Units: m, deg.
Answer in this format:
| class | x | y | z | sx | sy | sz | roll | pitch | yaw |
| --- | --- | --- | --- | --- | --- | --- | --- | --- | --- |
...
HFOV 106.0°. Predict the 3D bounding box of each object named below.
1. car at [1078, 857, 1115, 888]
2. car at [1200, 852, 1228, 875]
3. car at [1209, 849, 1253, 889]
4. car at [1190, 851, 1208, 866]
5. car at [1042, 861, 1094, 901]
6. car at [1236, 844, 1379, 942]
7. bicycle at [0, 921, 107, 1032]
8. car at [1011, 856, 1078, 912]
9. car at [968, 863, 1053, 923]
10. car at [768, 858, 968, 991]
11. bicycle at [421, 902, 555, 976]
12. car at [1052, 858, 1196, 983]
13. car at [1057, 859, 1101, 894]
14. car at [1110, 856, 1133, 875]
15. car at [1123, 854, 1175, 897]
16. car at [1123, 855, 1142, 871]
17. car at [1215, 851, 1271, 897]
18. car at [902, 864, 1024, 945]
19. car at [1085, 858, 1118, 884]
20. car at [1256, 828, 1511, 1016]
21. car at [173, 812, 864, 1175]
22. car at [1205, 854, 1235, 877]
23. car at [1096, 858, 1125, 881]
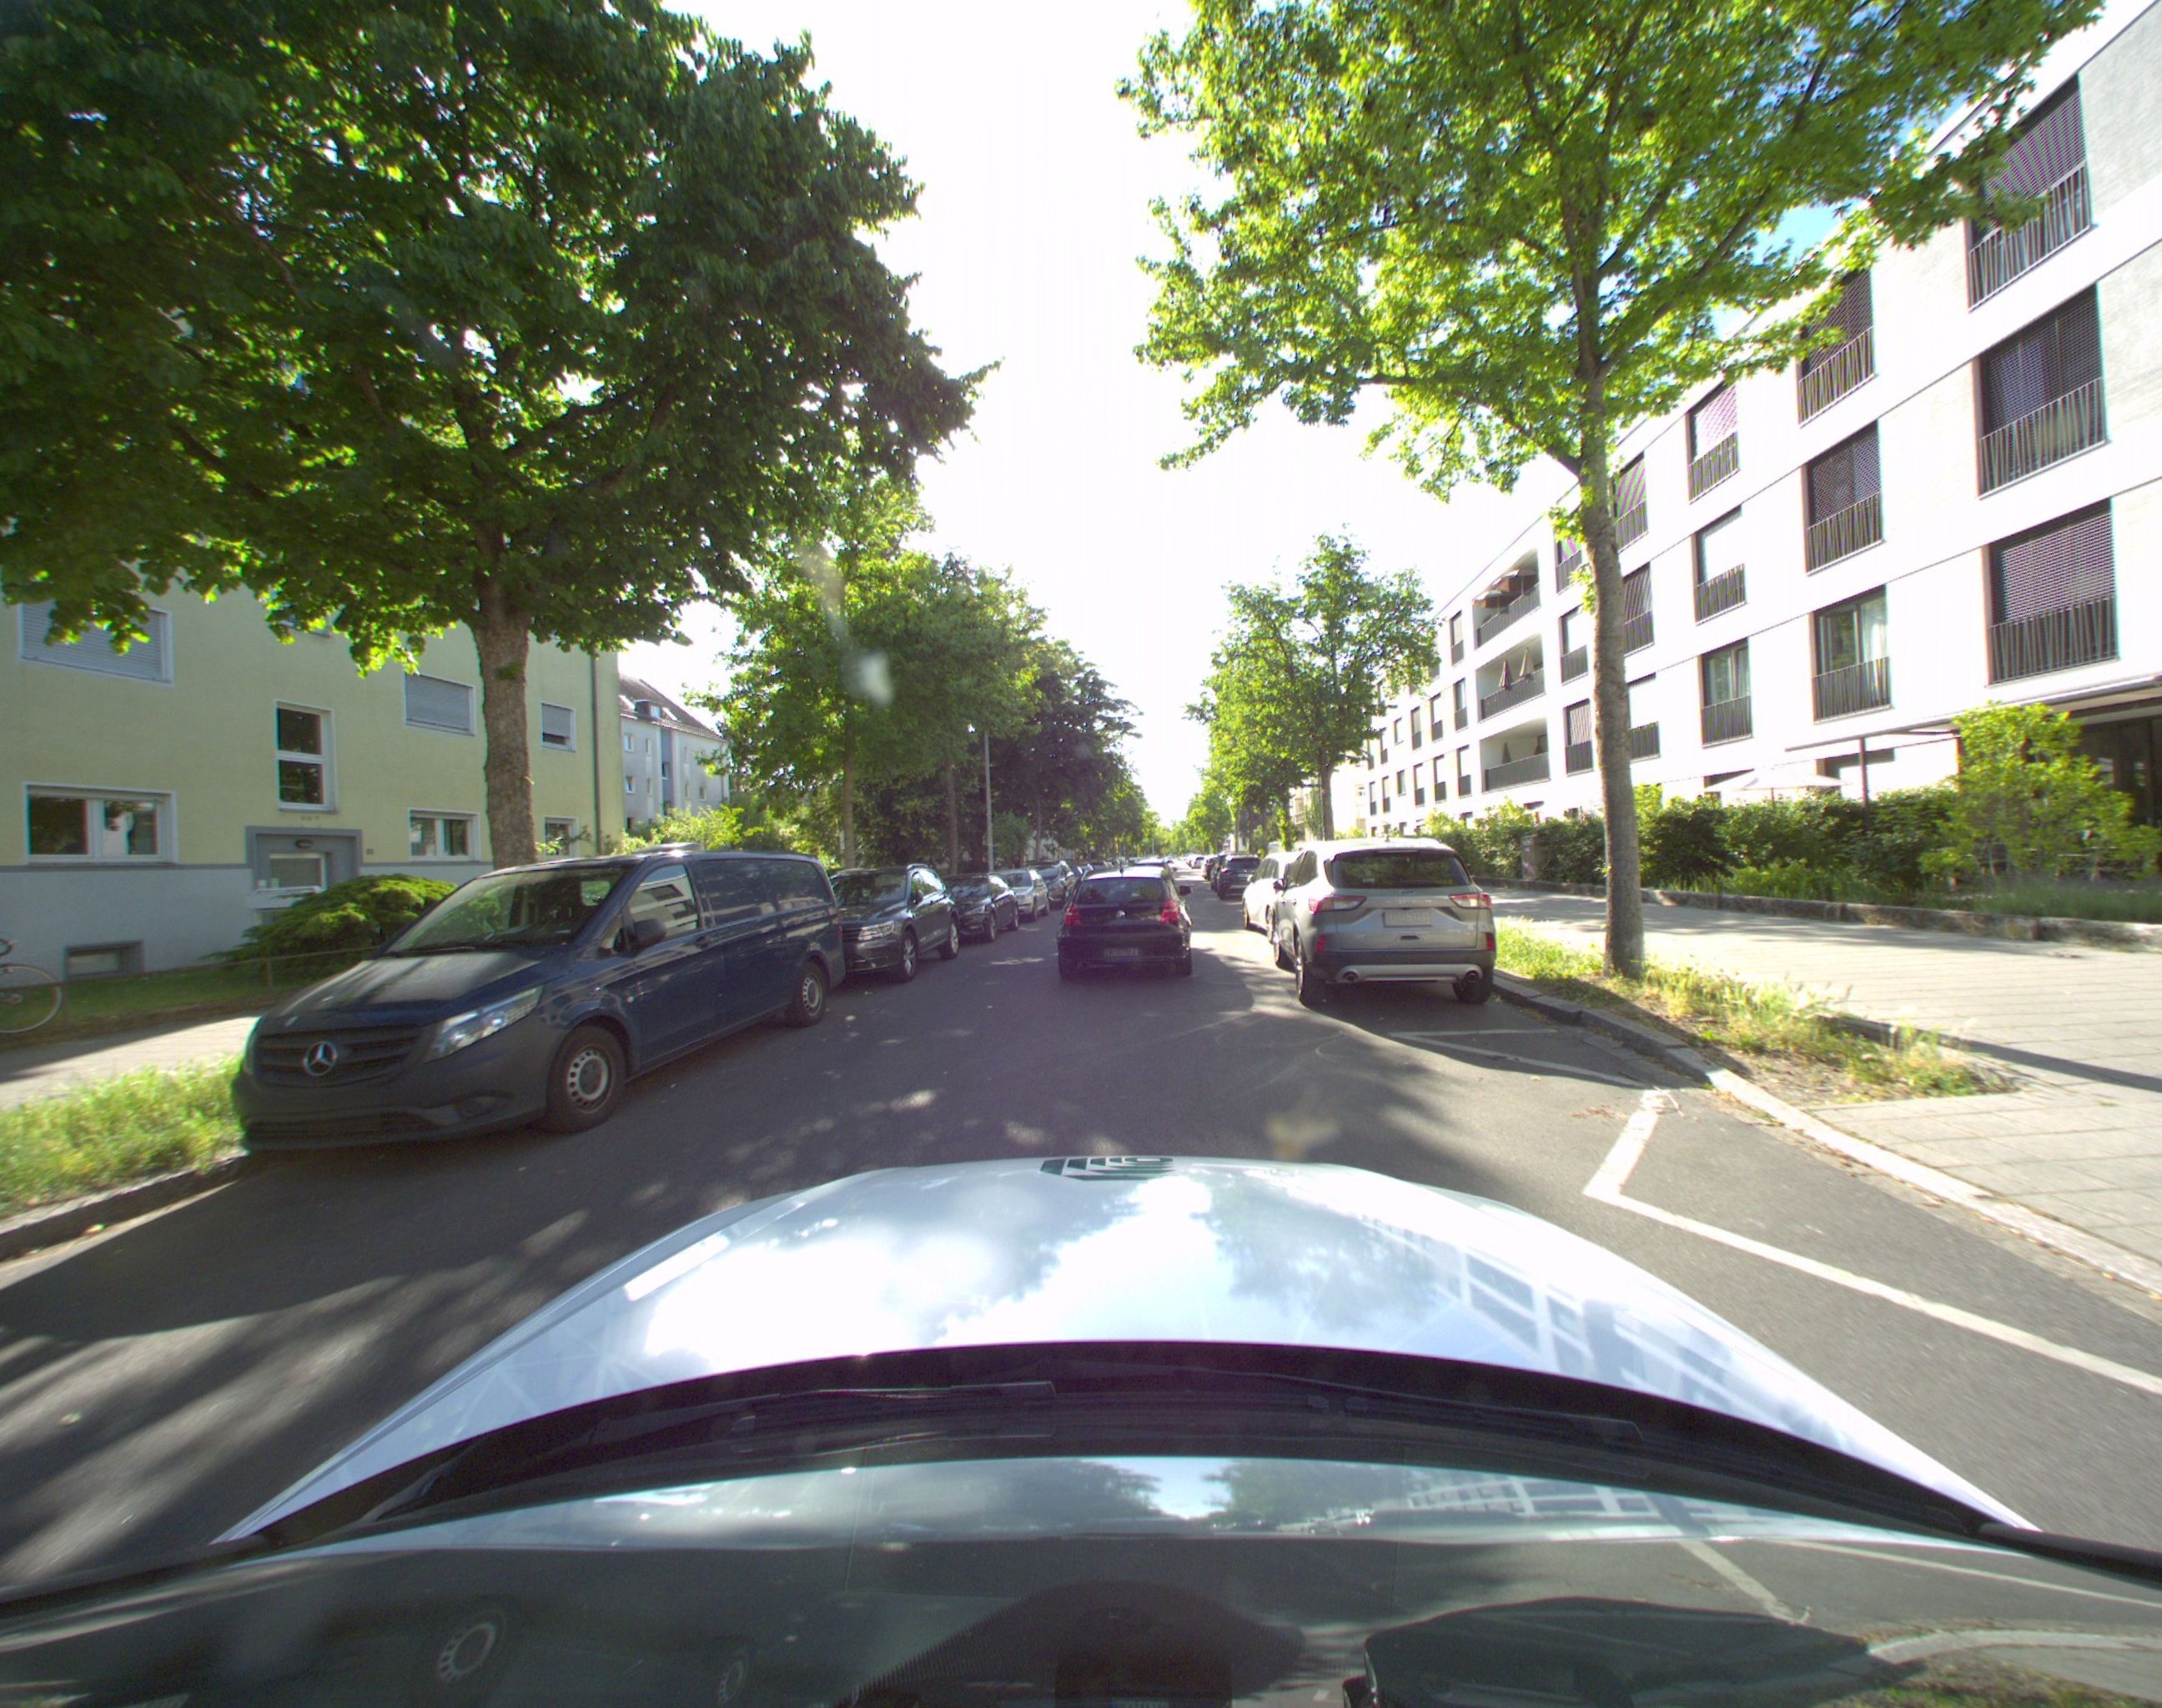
| class | x | y | z | sx | sy | sz | roll | pitch | yaw |
| --- | --- | --- | --- | --- | --- | --- | --- | --- | --- |
| car | 0.919 | 0.985 | 45.577 | 1.604 | 1.543 | 3.872 | -4 | 0 | 6 |
| car | 8.979 | 0.632 | 55.211 | 1.711 | 1.480 | 3.859 | -1 | 0 | 8 |
| car | 6.472 | 0.603 | 35.423 | 1.711 | 1.641 | 3.859 | -1 | 0 | 8 |
| car | 13.115 | 0.468 | 90.332 | 1.710 | 1.480 | 3.861 | -4 | 0 | 10 |
| car | -0.484 | 1.076 | 34.117 | 1.604 | 1.452 | 3.872 | -4 | 0 | 6 |
| car | 4.013 | 0.638 | 15.087 | 1.686 | 1.524 | 4.003 | -2 | 0 | 3 |
| bicycle | -10.601 | 1.214 | 7.571 | 0.591 | 0.991 | 1.932 | -3 | 0 | 7 |
| car | -1.179 | 0.981 | 28.445 | 1.604 | 1.679 | 4.241 | -4 | 0 | 6 |
| car | -1.908 | 1.039 | 23.041 | 1.604 | 1.427 | 3.732 | -4 | 0 | 6 |
| car | -3.070 | 0.928 | 12.684 | 1.605 | 1.611 | 4.235 | -4 | 0 | 4 |
| bicycle | -9.747 | 1.361 | 13.485 | 0.591 | 0.991 | 1.932 | -3 | 0 | 7 |
| car | 0.582 | 0.804 | 11.442 | 1.643 | 1.397 | 3.413 | -3 | 0 | 2 |
| car | -0.054 | 1.036 | 38.717 | 1.604 | 1.452 | 3.872 | -4 | 0 | 6 |
| car | 3.368 | 0.926 | 67.716 | 1.604 | 1.392 | 3.872 | -4 | 0 | 6 |
| car | 2.627 | 0.767 | 30.787 | 1.640 | 1.425 | 4.011 | -3 | 0 | 8 |
| car | 5.028 | 0.887 | 79.060 | 1.604 | 1.392 | 3.872 | -4 | 0 | 6 |
| car | 5.783 | 0.663 | 29.443 | 1.711 | 1.528 | 4.009 | -1 | 0 | 8 |
| car | -2.459 | 1.021 | 17.967 | 1.604 | 1.427 | 4.065 | -4 | 0 | 6 |
| car | 1.308 | 1.035 | 50.503 | 1.604 | 1.392 | 3.872 | -4 | 0 | 6 |
| car | 3.146 | 0.635 | 9.443 | 1.837 | 1.631 | 4.420 | -2 | -1 | 8 |
| car | -3.836 | 0.788 | 7.048 | 1.816 | 1.904 | 5.153 | -4 | 0 | 7 |
| car | 8.585 | 0.676 | 50.429 | 1.711 | 1.379 | 3.859 | -1 | 0 | 8 |
| car | 2.011 | 1.043 | 54.989 | 1.604 | 1.392 | 3.872 | -4 | 0 | 6 |
